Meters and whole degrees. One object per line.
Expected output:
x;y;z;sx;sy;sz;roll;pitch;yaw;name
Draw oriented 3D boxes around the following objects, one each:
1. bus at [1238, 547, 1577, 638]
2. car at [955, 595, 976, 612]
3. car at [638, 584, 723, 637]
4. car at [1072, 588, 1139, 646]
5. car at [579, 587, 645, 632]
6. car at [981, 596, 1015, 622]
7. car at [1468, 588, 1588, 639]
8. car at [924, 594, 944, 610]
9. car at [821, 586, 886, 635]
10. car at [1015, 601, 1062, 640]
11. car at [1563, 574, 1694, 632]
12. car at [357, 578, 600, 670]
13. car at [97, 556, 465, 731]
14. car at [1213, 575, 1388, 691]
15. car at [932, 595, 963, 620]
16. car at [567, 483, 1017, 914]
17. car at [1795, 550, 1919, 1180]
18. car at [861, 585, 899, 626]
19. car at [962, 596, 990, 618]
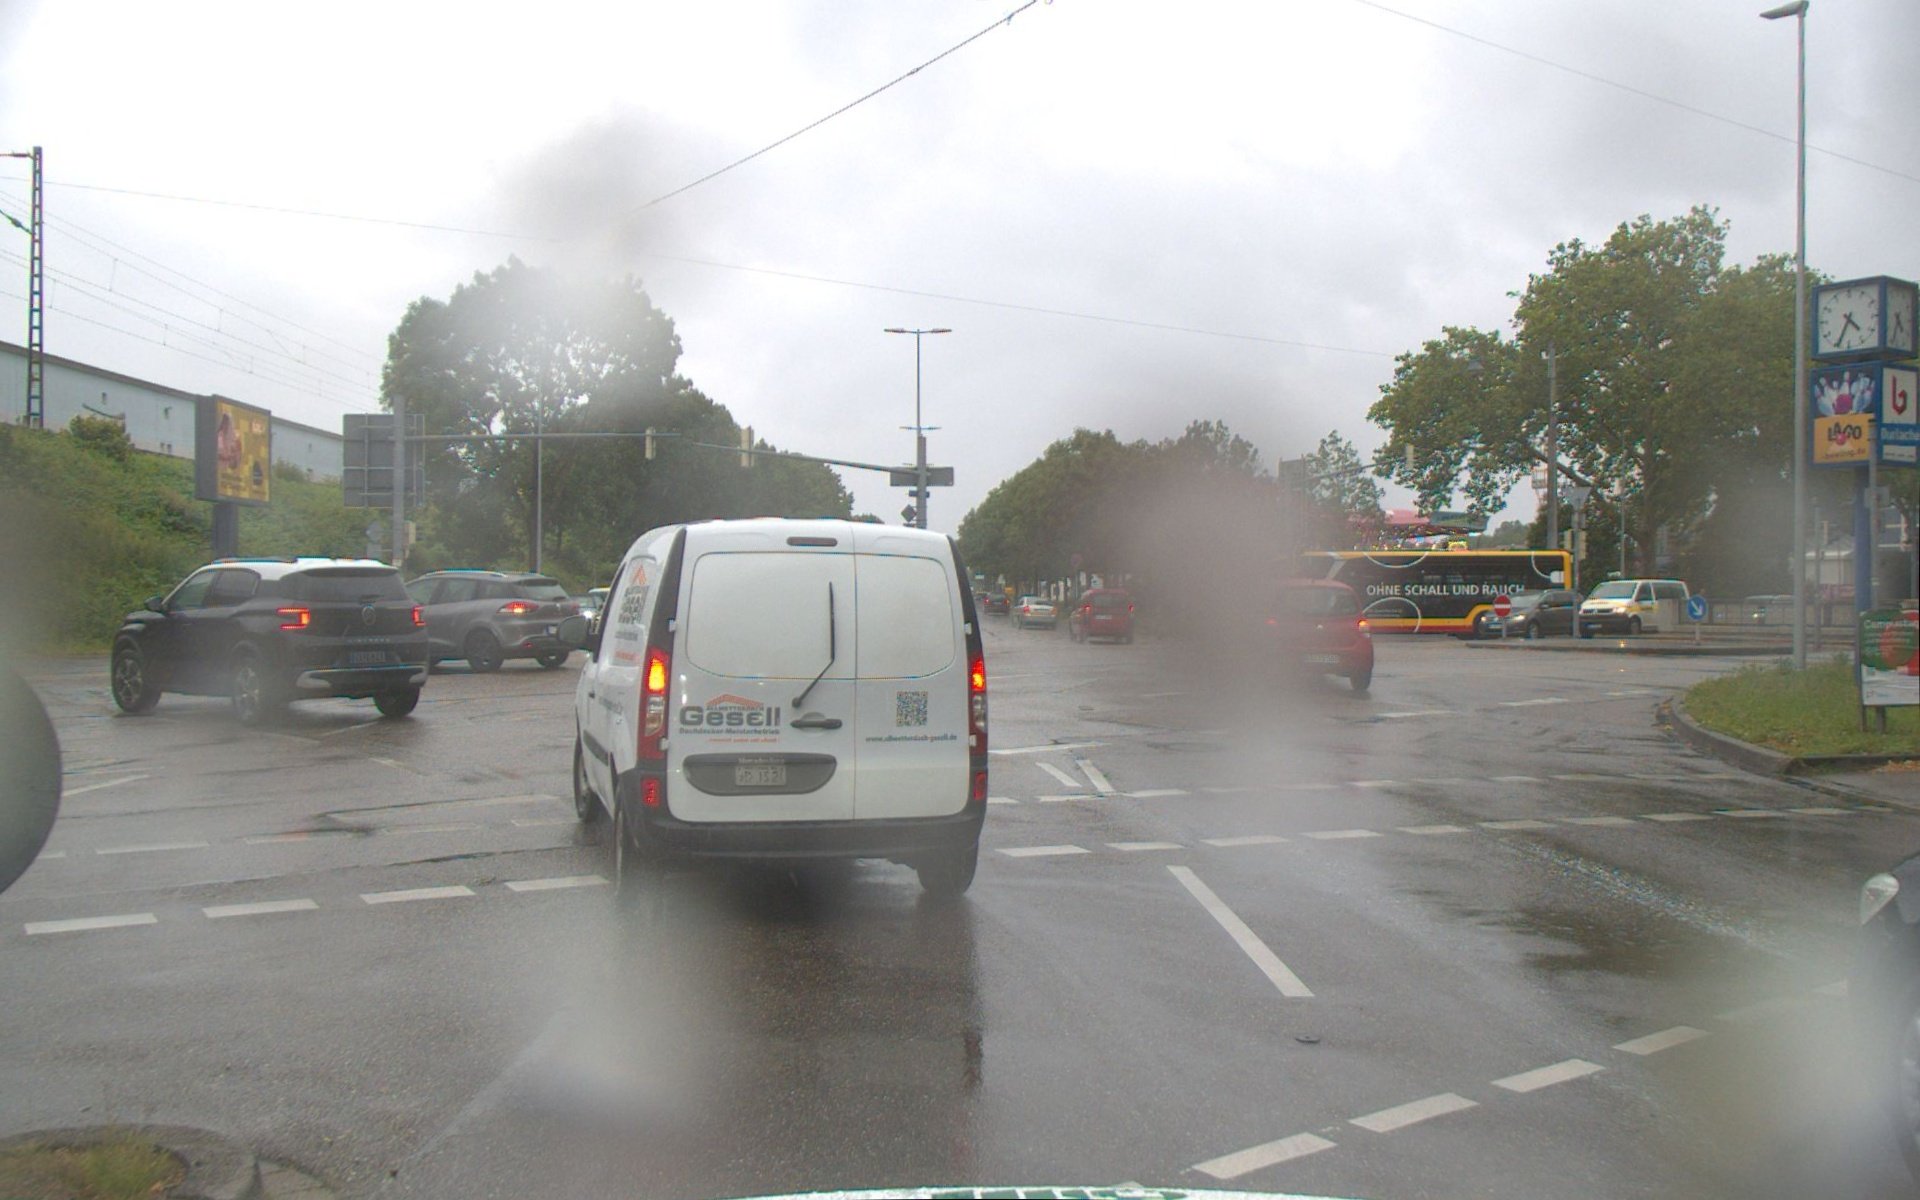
16.816;-0.297;62.621;12.004;3.325;3.273;0;0;-3;bus
0.568;0.380;167.535;1.956;1.646;3.998;0;0;-2;car
-9.101;0.315;54.119;1.980;1.686;4.062;0;1;1;car
4.462;0.494;51.150;1.599;1.684;3.483;2;0;-2;car
-12.222;0.319;58.264;1.791;1.508;3.996;0;1;-5;car
2.458;0.601;108.163;1.956;1.646;3.998;0;0;-2;car
19.442;0.423;56.544;4.299;1.680;1.907;0;0;-39;car
-2.746;0.217;172.231;1.956;1.646;3.998;0;0;-2;car
-3.951;0.372;61.939;2.125;1.750;4.303;0;1;0;car
3.509;0.897;74.478;1.805;1.646;3.999;2;0;-1;car
22.436;0.075;55.454;4.699;1.881;2.049;0;0;-39;car
-7.268;0.331;25.033;3.180;1.306;1.686;0;1;22;car
-7.191;0.383;17.402;3.922;1.637;1.915;0;1;38;car
4.805;0.427;23.783;1.645;1.517;3.620;1;0;-2;car
-0.851;0.523;112.749;1.956;1.646;3.998;0;0;-2;car
-1.152;0.415;9.111;1.727;1.808;3.982;2;0;-16;car
3.289;0.660;2.637;1.832;1.550;4.087;0;0;-1;car
-3.570;0.220;73.354;1.568;1.750;3.996;0;1;-5;car
1.184;0.496;125.476;1.956;1.646;3.998;0;0;-2;car
